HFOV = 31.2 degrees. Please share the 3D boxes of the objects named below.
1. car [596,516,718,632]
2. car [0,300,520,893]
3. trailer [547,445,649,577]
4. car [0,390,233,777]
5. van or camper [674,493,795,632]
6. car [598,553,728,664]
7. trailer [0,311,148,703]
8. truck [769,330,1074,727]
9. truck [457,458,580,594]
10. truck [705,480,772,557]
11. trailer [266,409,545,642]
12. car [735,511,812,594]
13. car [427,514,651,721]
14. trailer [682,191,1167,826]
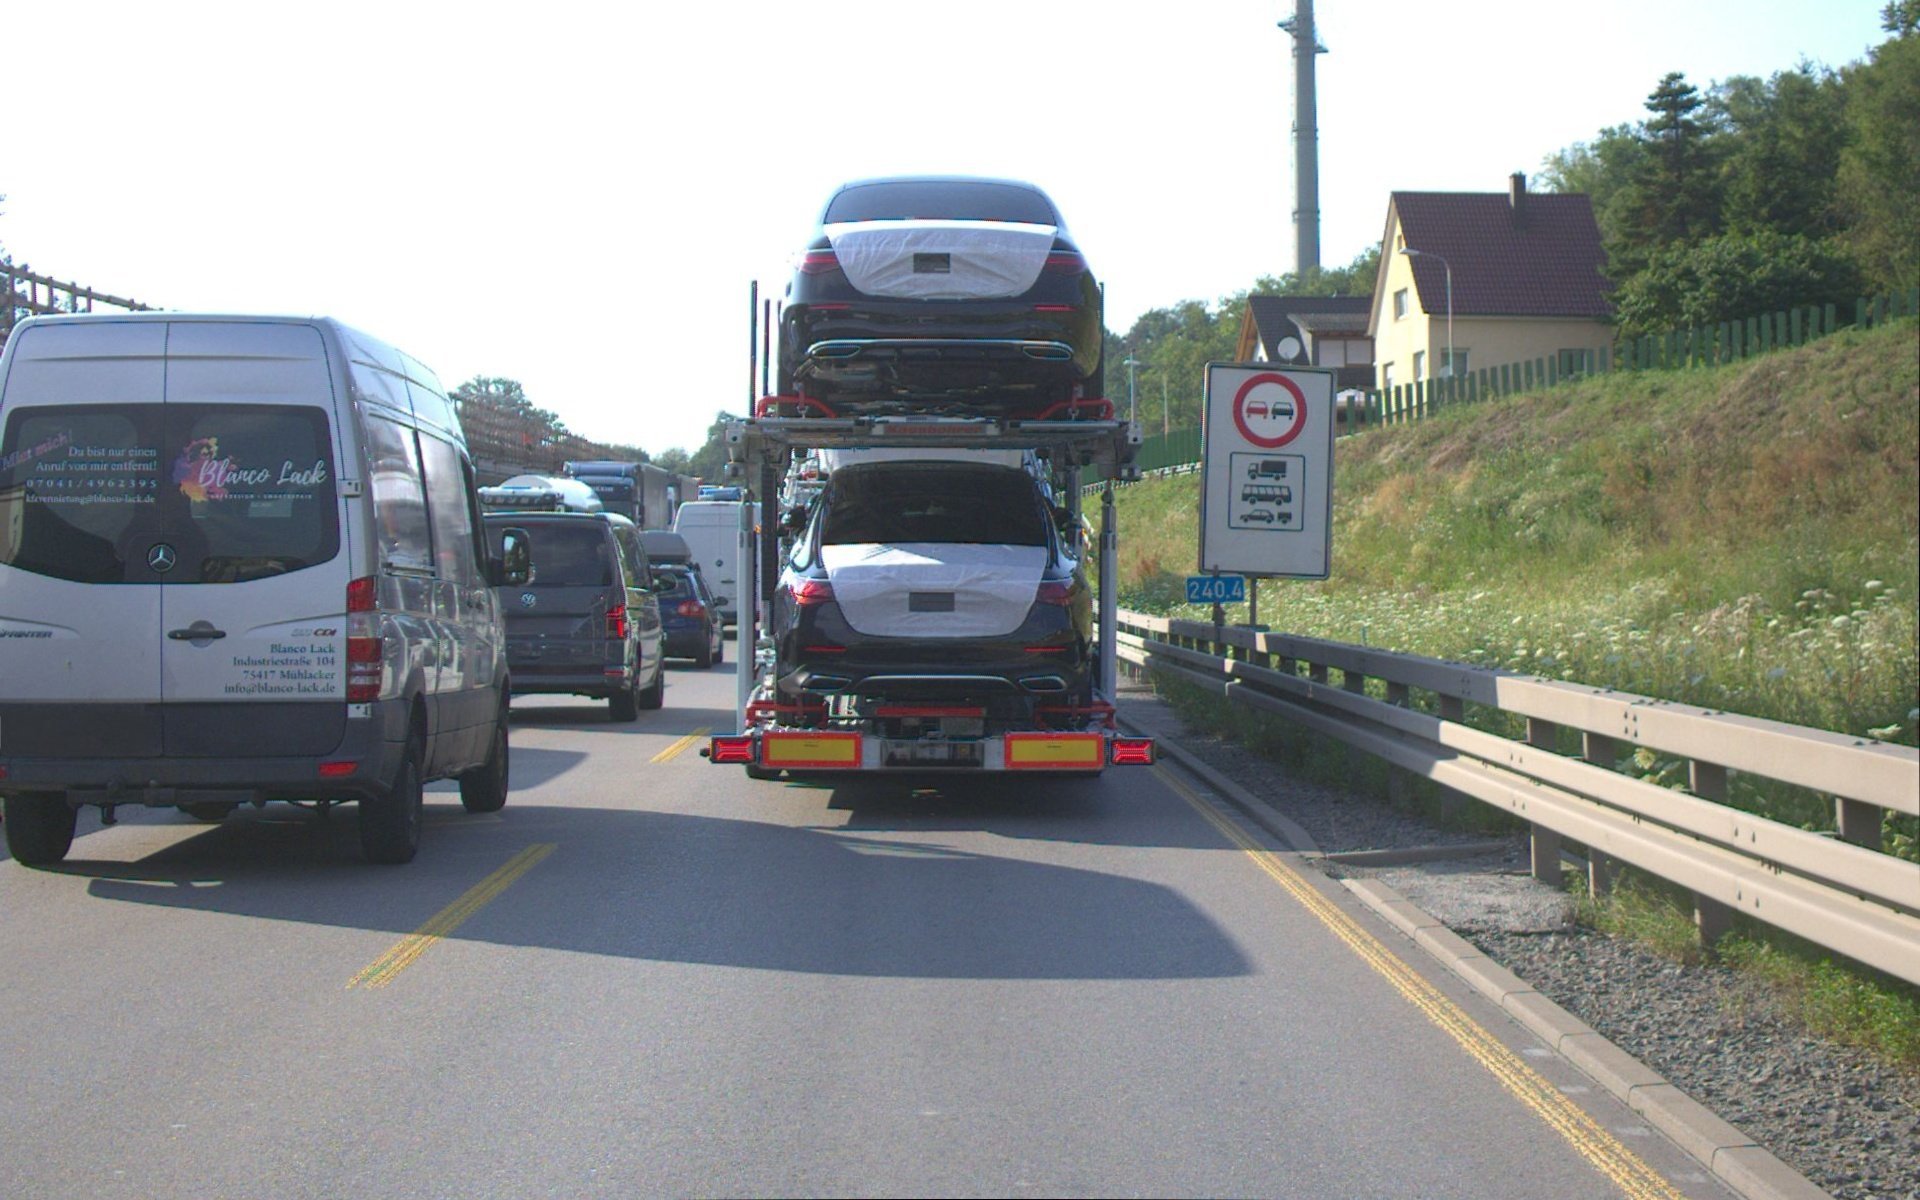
[{"bbox_3d":[-6.757,-0.590,76.993,2.471,2.525,4.000,0,1,-1],"label":"car"},{"bbox_3d":[-3.647,-0.088,18.136,1.993,2.639,5.531,-1,2,-1],"label":"car"},{"bbox_3d":[-11.696,-2.905,111.528,2.764,4.127,5.977,1,2,-1],"label":"trailer"},{"bbox_3d":[-7.442,-0.159,26.933,1.993,2.613,7.411,1,1,-1],"label":"car"},{"bbox_3d":[-4.358,-0.732,67.117,1.968,2.583,5.042,1,1,0],"label":"van or camper"},{"bbox_3d":[-4.380,0.096,51.201,1.725,1.517,3.974,1,2,-2],"label":"car"},{"bbox_3d":[-10.726,-0.919,33.445,2.652,3.837,13.444,1,1,-1],"label":"trailer"},{"bbox_3d":[-0.386,-0.683,34.324,2.682,3.522,7.194,1,1,-1],"label":"truck"},{"bbox_3d":[-11.447,-1.885,89.457,2.548,3.397,5.532,1,1,-1],"label":"truck"},{"bbox_3d":[-10.330,-3.773,161.155,2.714,3.413,8.142,-3,1,-2],"label":"truck"},{"bbox_3d":[-10.574,-1.372,67.531,2.771,4.017,15.764,1,1,0],"label":"trailer"},{"bbox_3d":[-4.845,-1.261,89.927,1.885,2.092,3.766,0,1,-1],"label":"car"},{"bbox_3d":[-4.071,0.152,33.784,1.808,1.897,4.000,1,0,-2],"label":"car"},{"bbox_3d":[-0.286,-0.608,26.910,2.682,3.522,15.289,1,1,-1],"label":"trailer"}]
